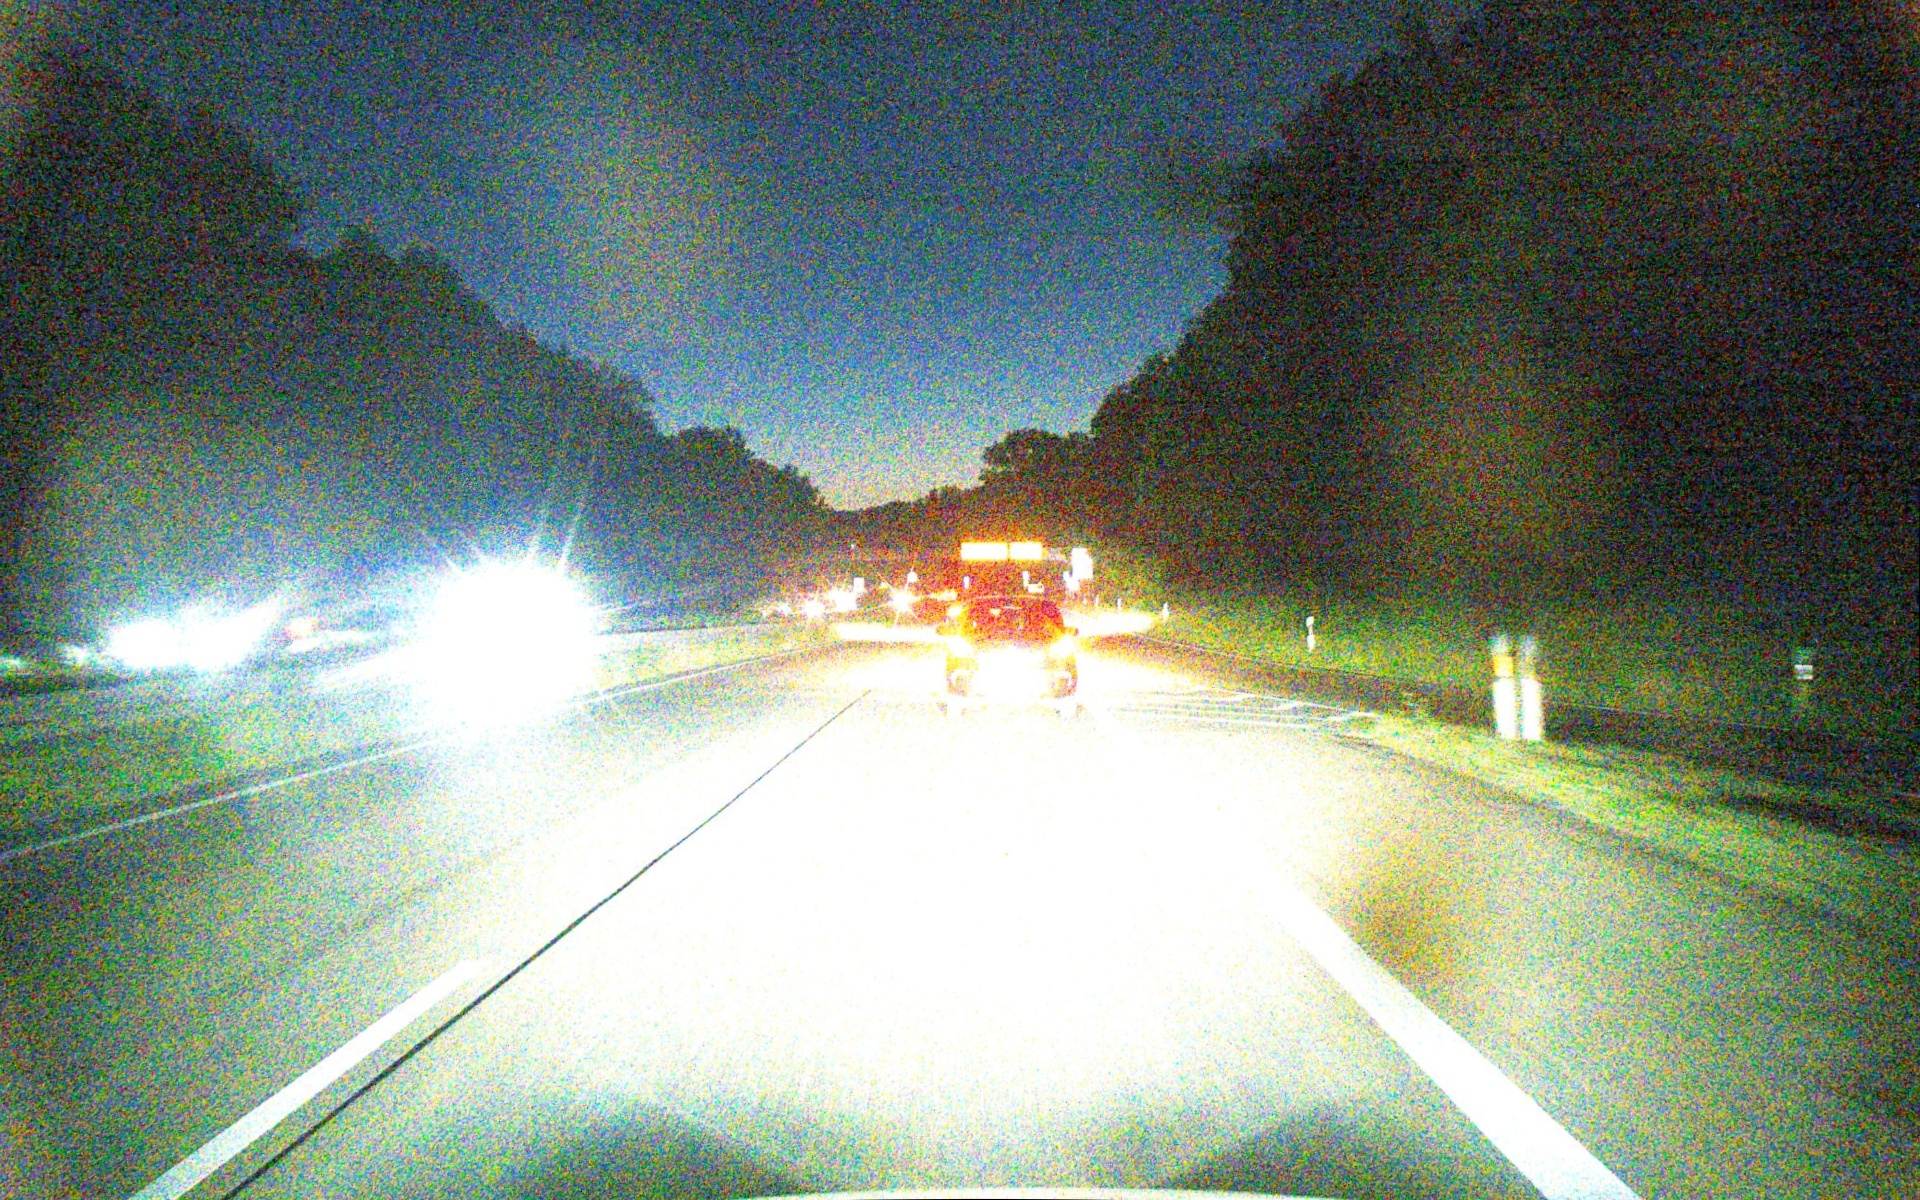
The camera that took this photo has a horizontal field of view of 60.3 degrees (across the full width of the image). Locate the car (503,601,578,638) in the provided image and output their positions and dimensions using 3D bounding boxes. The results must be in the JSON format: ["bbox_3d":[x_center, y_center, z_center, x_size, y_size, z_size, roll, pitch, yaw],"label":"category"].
[{"bbox_3d":[-16.986,0.764,67.234,1.735,1.436,4.845,0,0,1],"label":"car"}]

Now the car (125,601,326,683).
[{"bbox_3d":[-14.968,0.800,34.003,1.917,1.482,4.473,-2,0,3],"label":"car"}]

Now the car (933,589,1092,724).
[{"bbox_3d":[0.584,0.644,21.209,1.557,1.534,3.996,1,0,-5],"label":"car"}]

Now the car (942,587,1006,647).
[{"bbox_3d":[0.419,0.488,50.657,1.867,1.728,4.000,0,1,0],"label":"car"}]

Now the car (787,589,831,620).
[{"bbox_3d":[-9.145,0.253,100.428,1.917,1.764,5.081,-2,0,3],"label":"car"}]
